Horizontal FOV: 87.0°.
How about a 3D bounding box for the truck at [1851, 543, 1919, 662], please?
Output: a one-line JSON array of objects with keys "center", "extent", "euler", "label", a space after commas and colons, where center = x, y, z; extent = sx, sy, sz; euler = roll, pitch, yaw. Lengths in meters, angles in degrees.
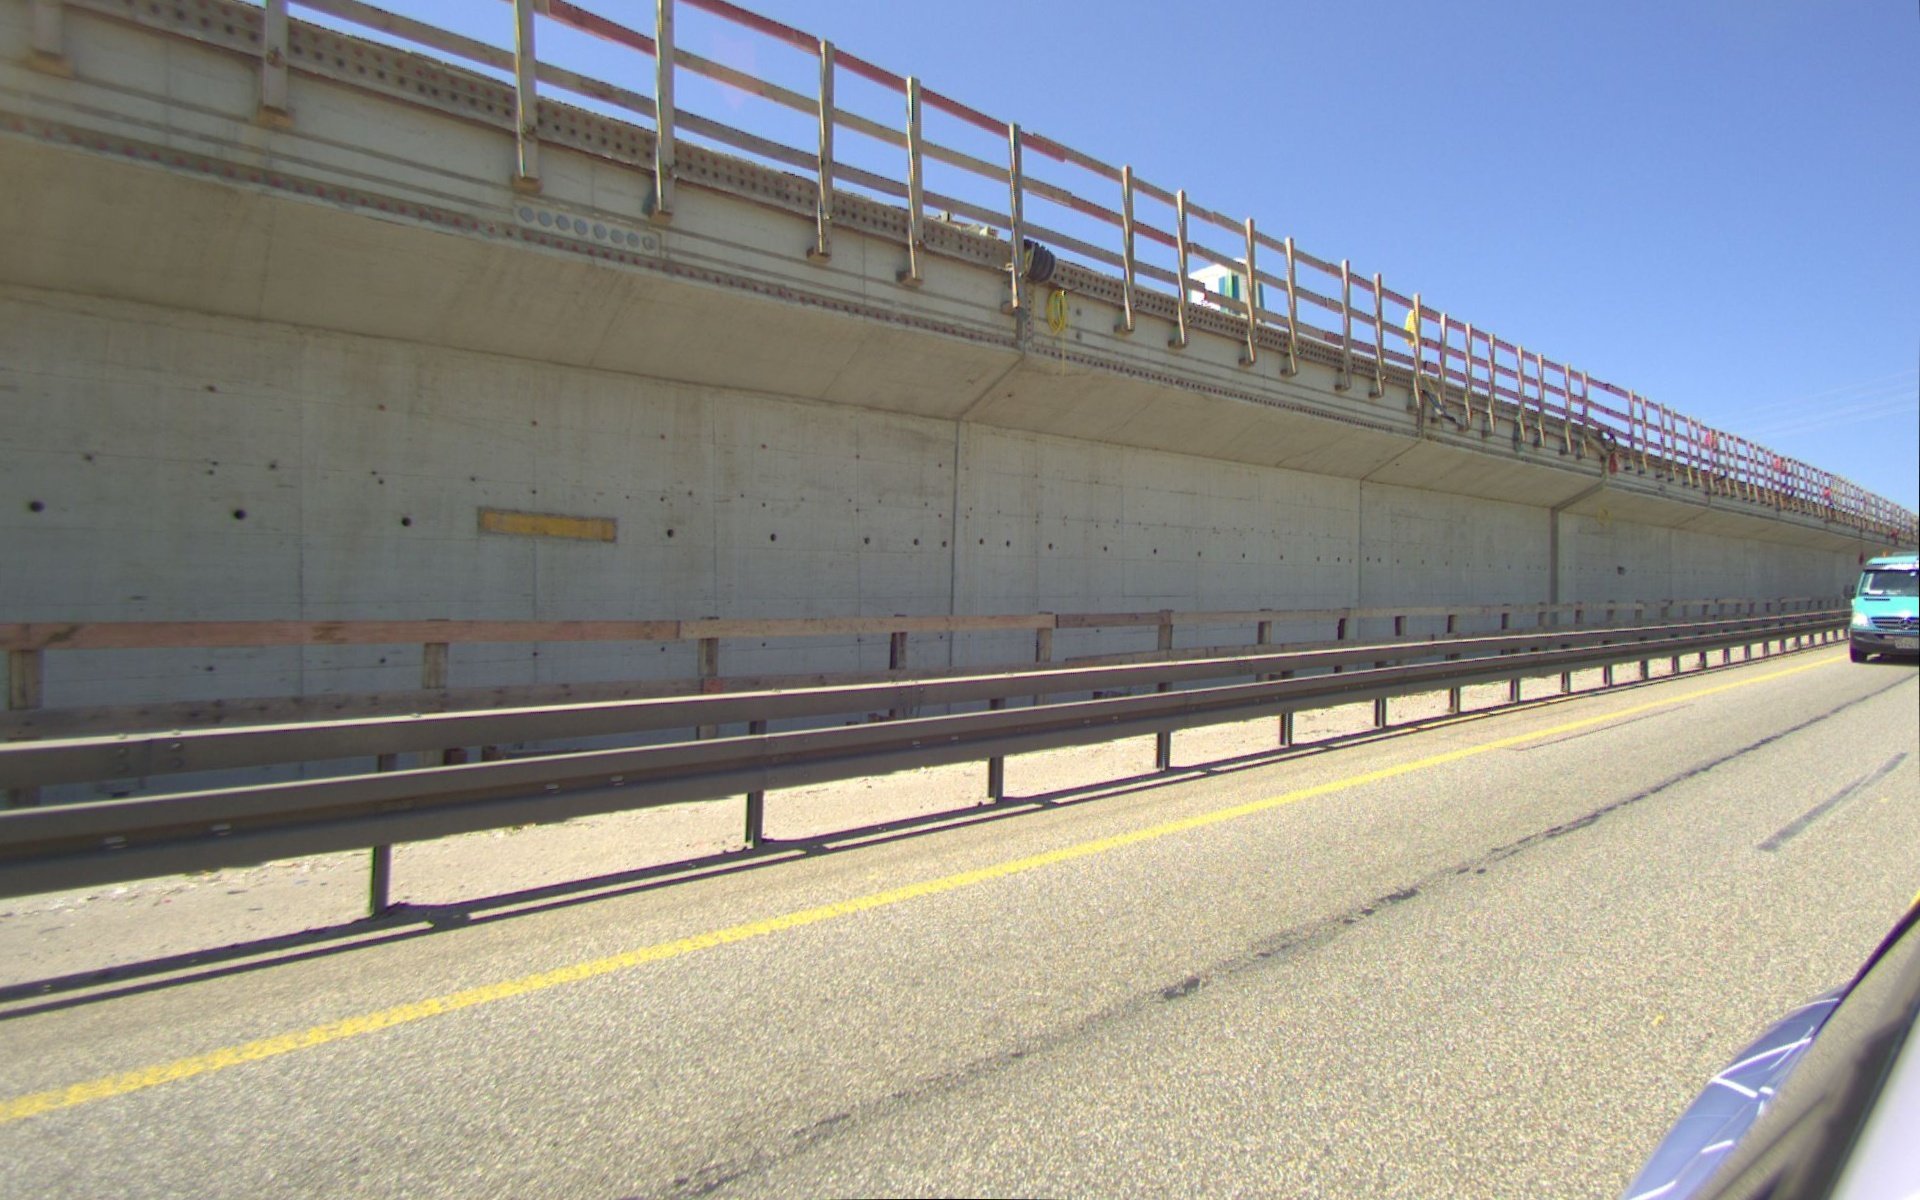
[{"center": [22.057, -0.023, 22.699], "extent": [7.303, 2.386, 2.138], "euler": [-2, 1, -41], "label": "truck"}]
